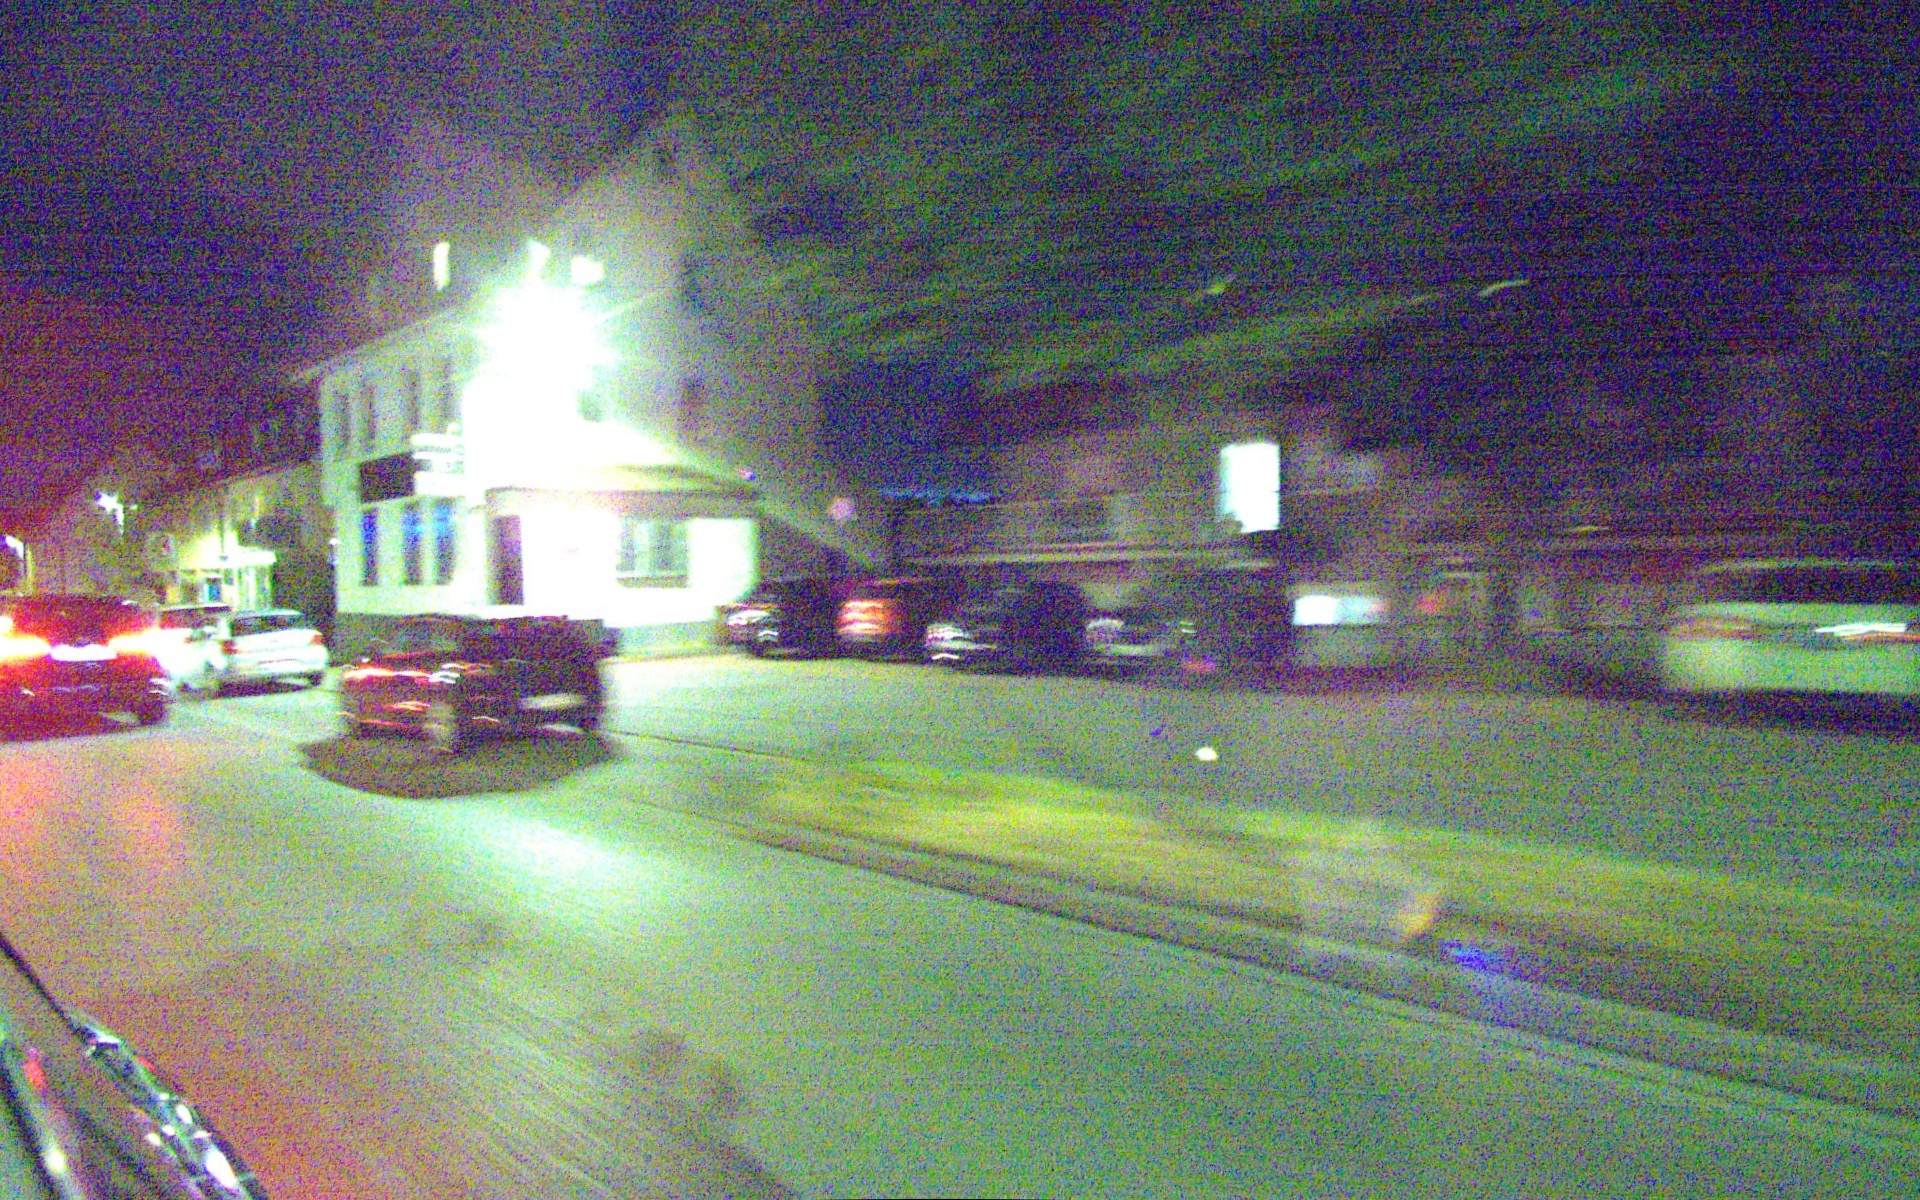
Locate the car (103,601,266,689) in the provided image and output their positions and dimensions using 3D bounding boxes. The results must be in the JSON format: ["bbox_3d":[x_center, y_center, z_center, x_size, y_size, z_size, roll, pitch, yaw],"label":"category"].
[{"bbox_3d":[-16.917,0.917,21.989,4.468,1.649,1.909,-1,1,41],"label":"car"}]

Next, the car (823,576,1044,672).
[{"bbox_3d":[-0.432,0.390,19.438,2.001,1.630,3.942,-1,0,45],"label":"car"}]

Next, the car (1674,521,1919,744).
[{"bbox_3d":[8.109,0.312,9.714,1.943,1.716,3.953,-1,-2,34],"label":"car"}]

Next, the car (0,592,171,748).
[{"bbox_3d":[-12.242,0.818,13.499,4.558,1.761,1.981,-1,0,43],"label":"car"}]

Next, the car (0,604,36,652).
[{"bbox_3d":[-41.768,1.224,43.707,4.884,1.961,2.095,-1,1,40],"label":"car"}]

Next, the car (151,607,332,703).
[{"bbox_3d":[-13.136,0.931,18.426,3.964,1.479,1.753,-1,1,41],"label":"car"}]

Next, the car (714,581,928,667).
[{"bbox_3d":[-2.734,0.425,20.789,2.024,1.573,4.276,-1,0,34],"label":"car"}]

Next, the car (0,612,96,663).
[{"bbox_3d":[-32.610,1.267,36.008,4.473,1.559,2.095,0,2,40],"label":"car"}]

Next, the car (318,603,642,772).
[{"bbox_3d":[-5.380,0.826,11.121,4.006,1.480,1.731,-1,1,41],"label":"car"}]

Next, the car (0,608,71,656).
[{"bbox_3d":[-36.524,1.226,39.501,4.166,1.683,2.095,-1,1,40],"label":"car"}]

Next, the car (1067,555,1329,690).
[{"bbox_3d":[3.577,0.323,14.787,2.000,1.674,4.071,-1,-2,43],"label":"car"}]

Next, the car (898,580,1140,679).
[{"bbox_3d":[1.087,0.464,17.184,2.001,1.475,3.942,0,-1,44],"label":"car"}]
